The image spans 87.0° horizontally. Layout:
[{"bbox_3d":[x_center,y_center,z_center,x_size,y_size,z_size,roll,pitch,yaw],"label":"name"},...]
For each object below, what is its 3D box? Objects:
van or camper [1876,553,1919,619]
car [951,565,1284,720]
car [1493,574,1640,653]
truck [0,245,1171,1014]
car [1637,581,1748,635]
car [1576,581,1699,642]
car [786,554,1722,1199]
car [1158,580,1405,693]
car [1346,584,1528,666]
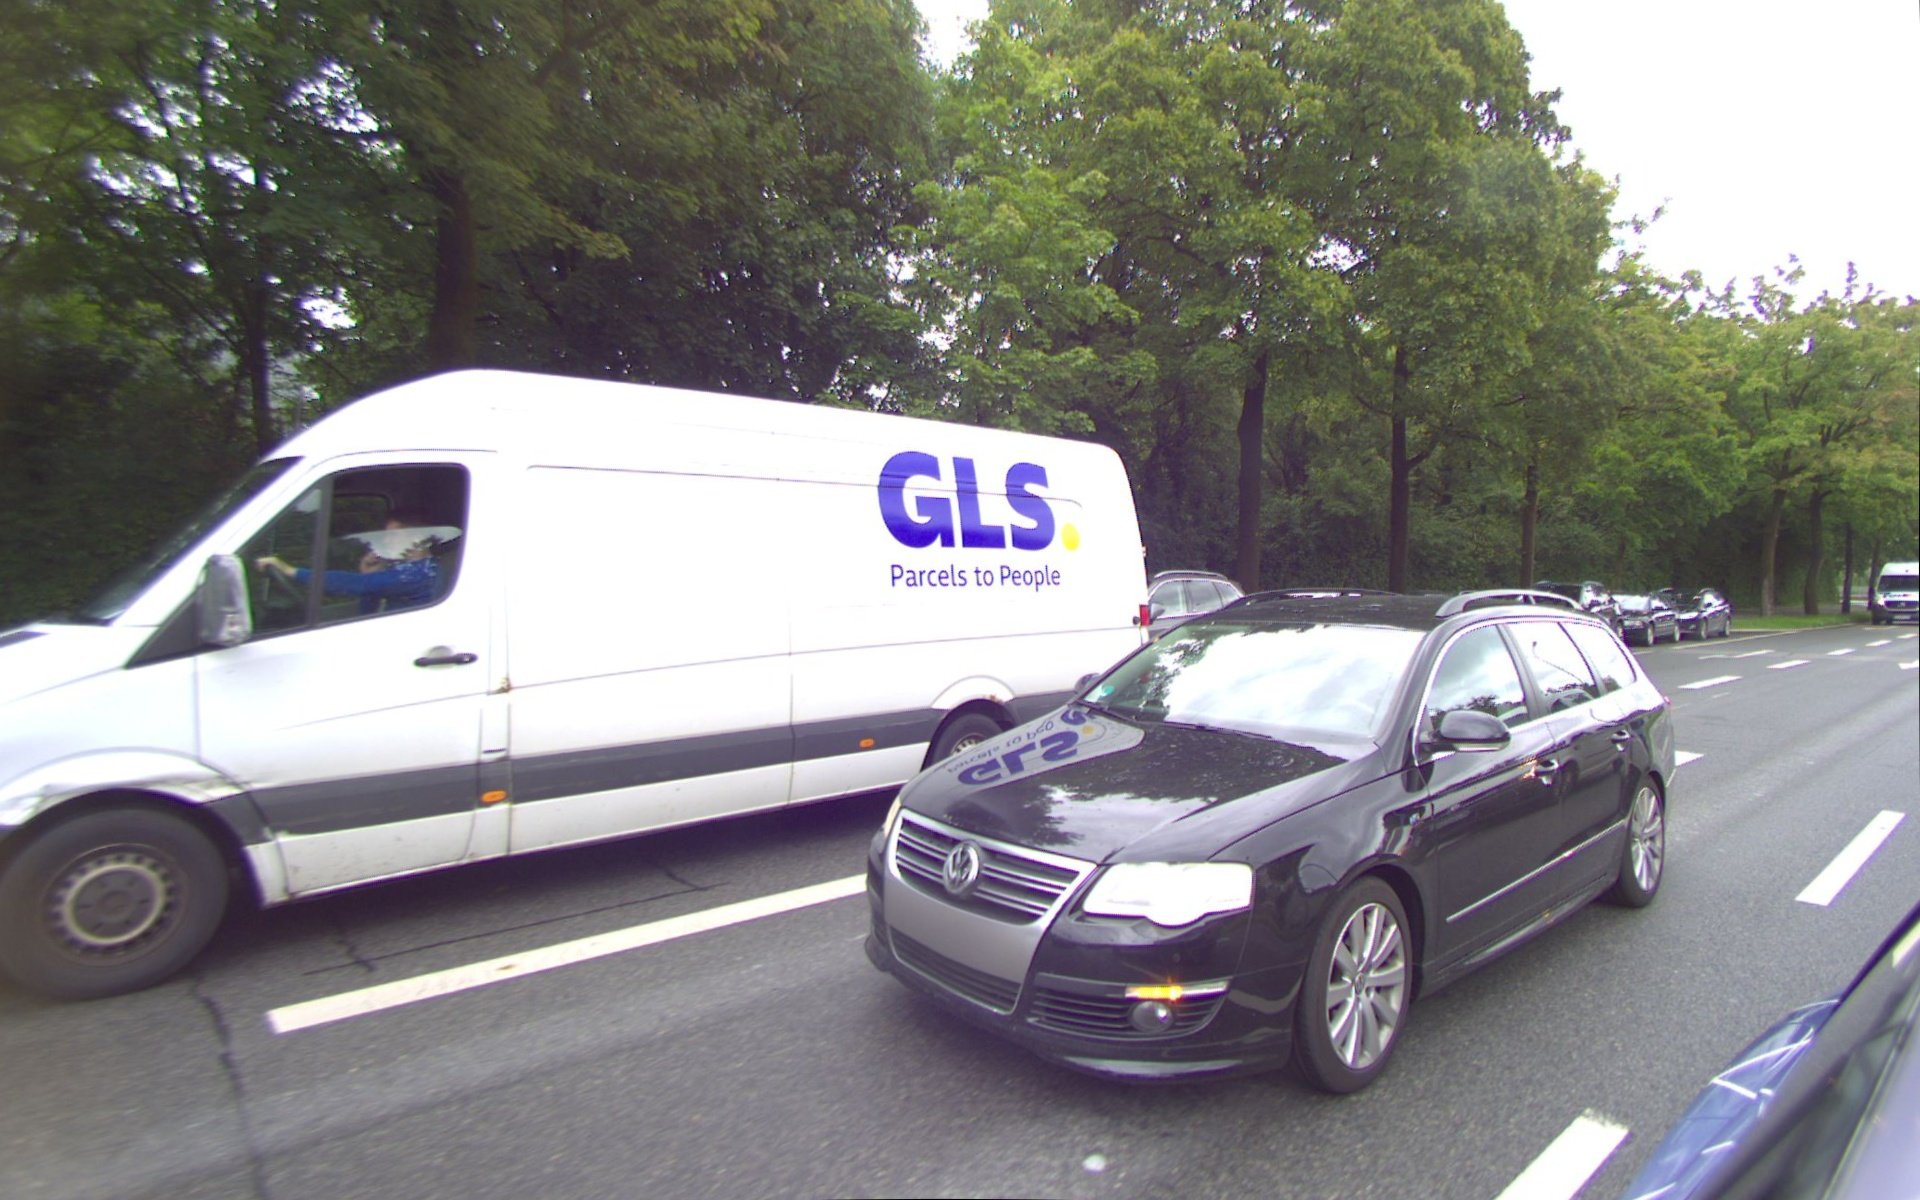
[{"bbox_3d":[40.516,-0.601,42.341,6.948,2.593,2.183,-1,2,-39],"label":"van or camper"},{"bbox_3d":[2.136,0.405,12.981,4.320,1.670,1.883,-1,2,-41],"label":"car"},{"bbox_3d":[14.262,0.242,23.710,4.181,1.670,1.751,-1,2,-41],"label":"car"},{"bbox_3d":[-1.715,0.051,6.157,7.101,2.636,1.997,-1,1,-41],"label":"truck"},{"bbox_3d":[21.799,0.180,30.063,4.181,1.485,1.751,-1,2,-41],"label":"car"},{"bbox_3d":[18.153,0.251,27.070,3.968,1.485,1.751,-1,2,-41],"label":"car"},{"bbox_3d":[1.677,0.601,4.440,4.590,1.493,1.750,-1,1,-41],"label":"car"},{"bbox_3d":[5.208,0.467,16.100,4.320,1.543,1.751,-1,2,-41],"label":"car"},{"bbox_3d":[9.552,0.417,20.137,4.181,1.446,1.751,-1,2,-41],"label":"car"}]
